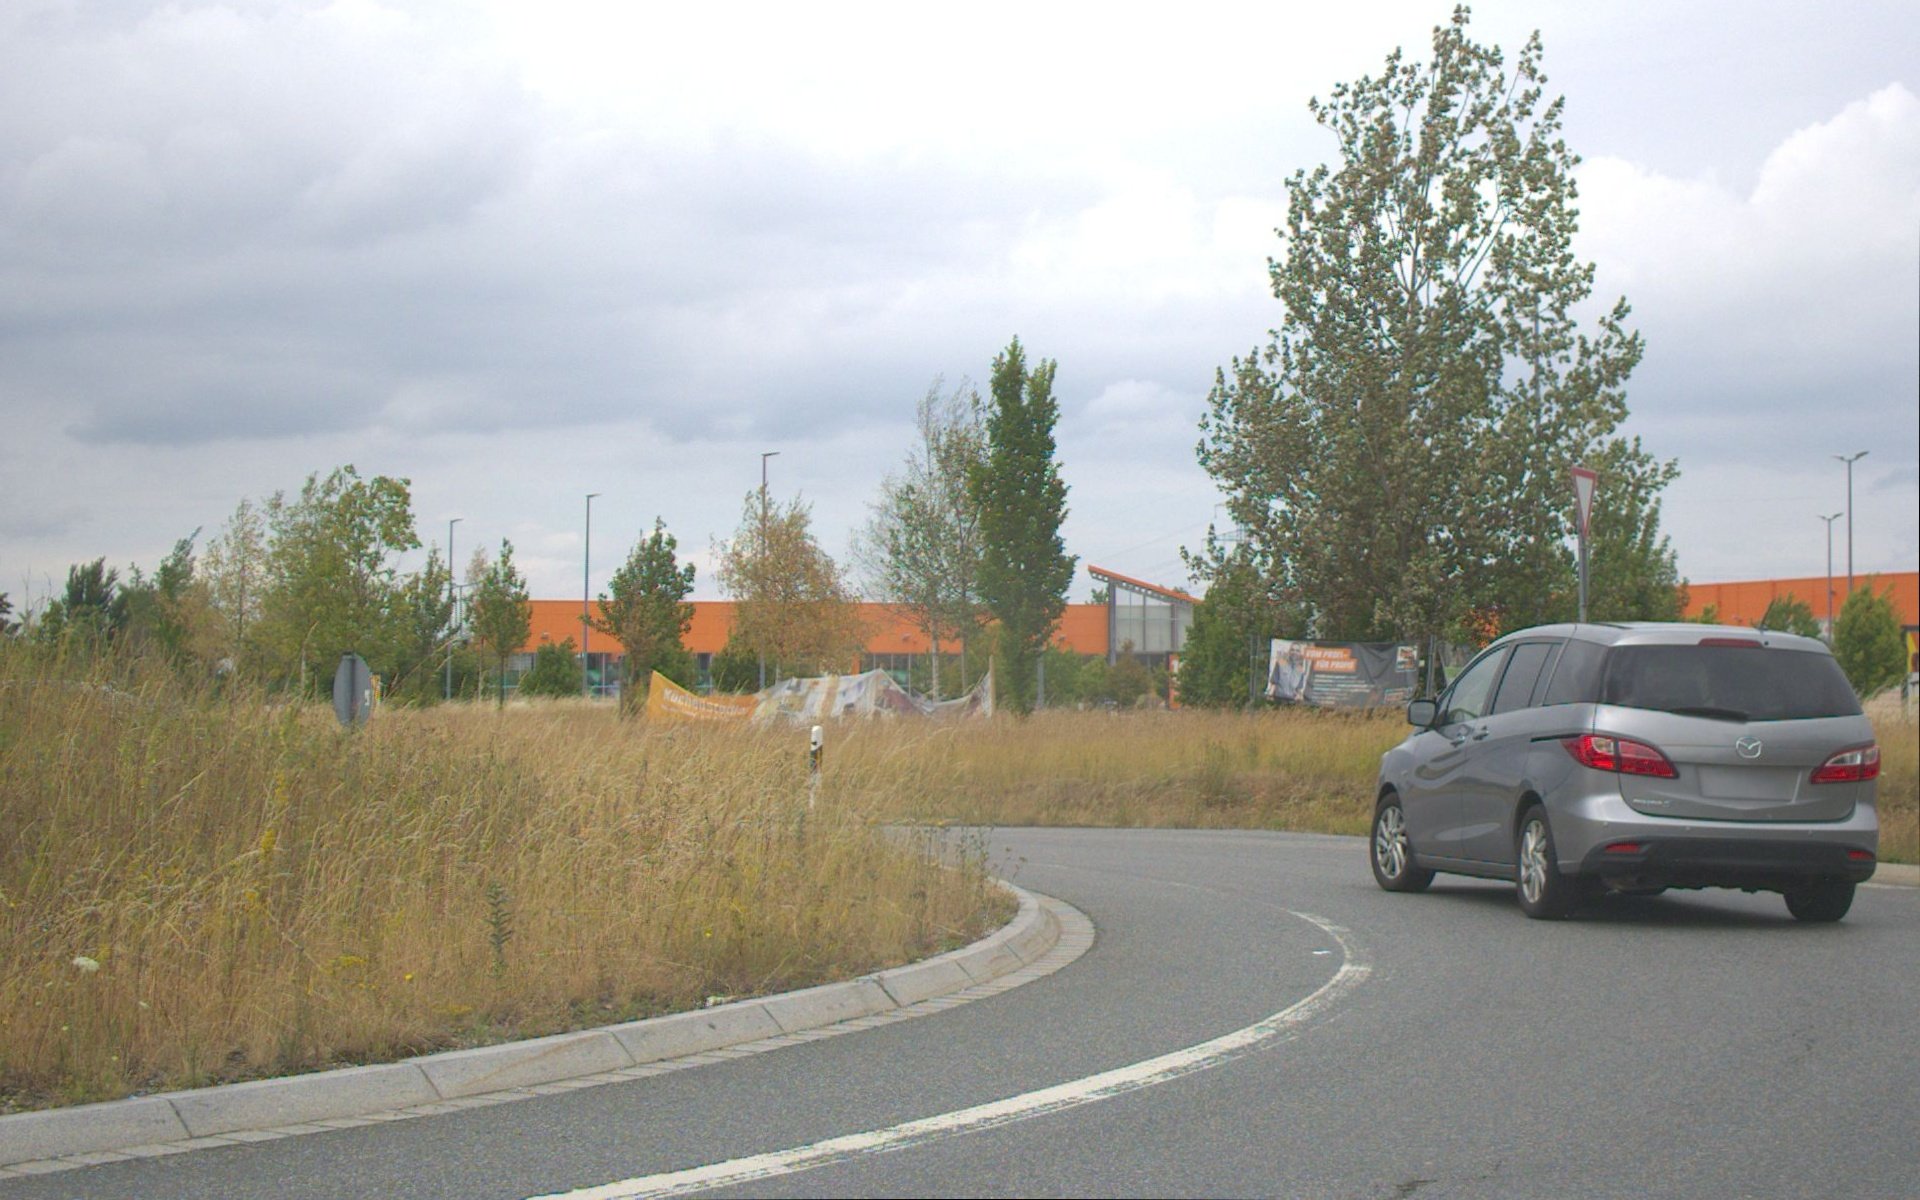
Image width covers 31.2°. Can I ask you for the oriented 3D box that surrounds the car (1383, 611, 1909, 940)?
[{"bbox_3d":[3.726,0.901,19.399,1.737,1.593,3.998,2,0,-6],"label":"car"}]
